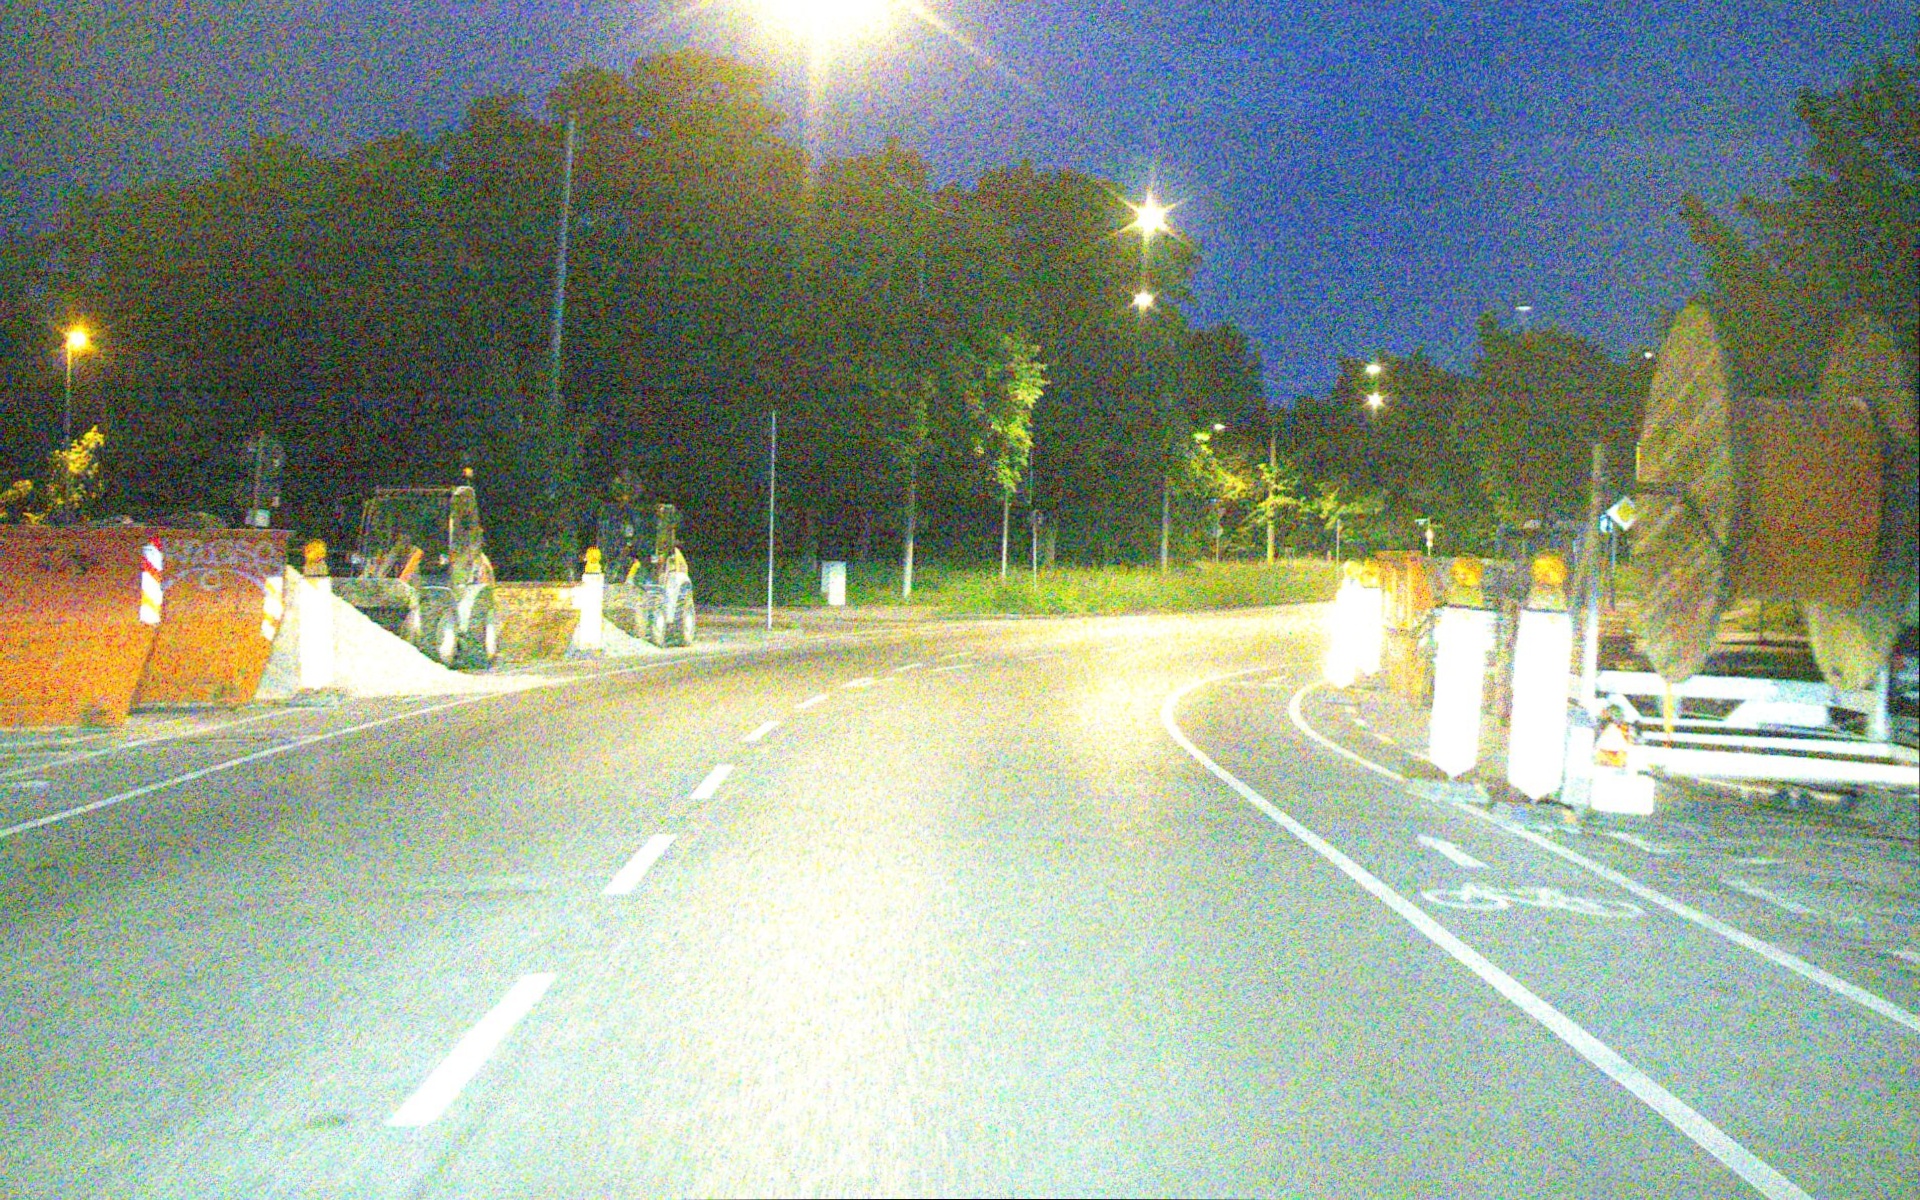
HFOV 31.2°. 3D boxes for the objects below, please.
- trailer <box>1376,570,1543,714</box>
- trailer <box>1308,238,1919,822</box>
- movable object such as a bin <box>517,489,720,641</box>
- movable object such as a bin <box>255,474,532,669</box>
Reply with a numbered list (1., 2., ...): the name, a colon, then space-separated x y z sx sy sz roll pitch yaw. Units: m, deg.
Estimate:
1. trailer: 5.411 0.417 37.557 1.242 1.429 3.727 2 1 0
2. trailer: 4.465 -0.384 22.159 3.481 3.208 4.866 3 0 -4
3. movable object such as a bin: -5.559 -0.573 56.619 1.994 2.368 4.699 1 1 12
4. movable object such as a bin: -7.293 -0.413 44.780 1.994 2.368 4.700 1 2 12
